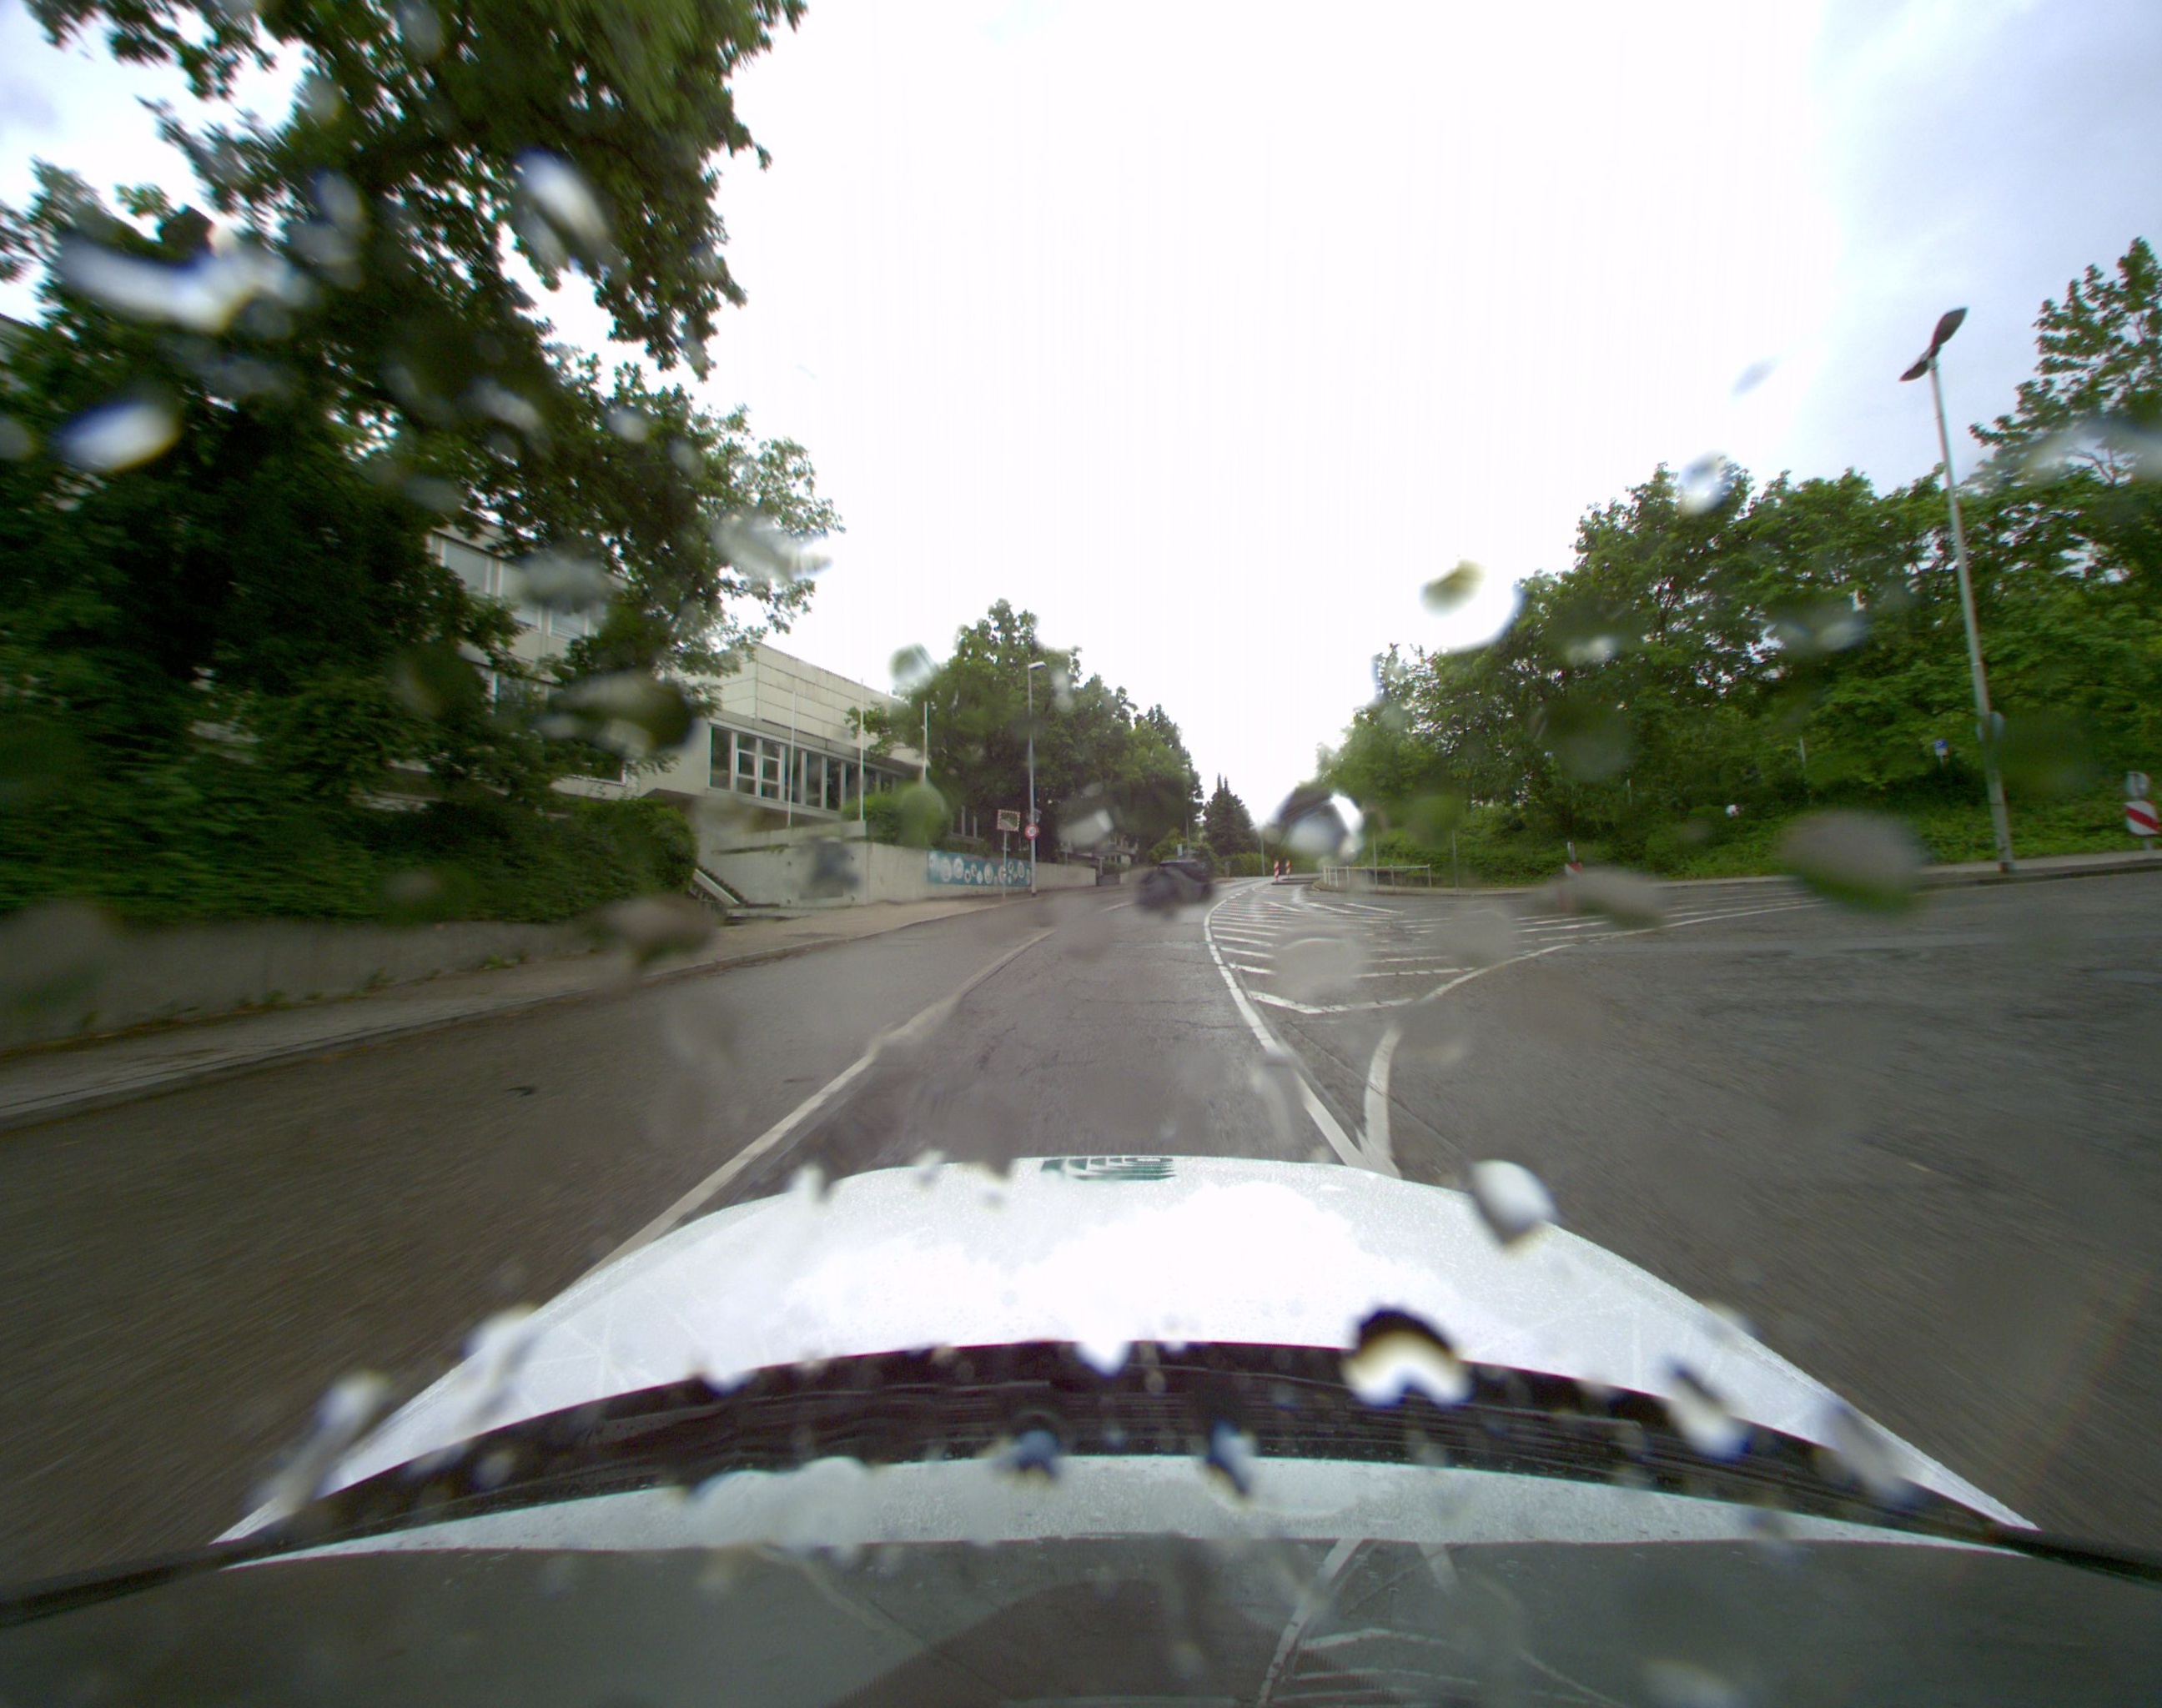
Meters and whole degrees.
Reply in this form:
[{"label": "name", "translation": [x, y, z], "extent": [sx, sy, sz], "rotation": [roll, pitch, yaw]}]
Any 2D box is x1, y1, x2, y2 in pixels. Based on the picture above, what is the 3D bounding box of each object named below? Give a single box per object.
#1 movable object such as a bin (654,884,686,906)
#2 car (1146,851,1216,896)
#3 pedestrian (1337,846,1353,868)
[{"label": "movable object such as a bin", "translation": [-16.758, 1.672, 33.210], "extent": [1.023, 0.793, 0.607], "rotation": [-5, -1, 22]}, {"label": "car", "translation": [3.925, 0.714, 31.426], "extent": [1.913, 1.613, 4.019], "rotation": [-1, 0, 18]}, {"label": "pedestrian", "translation": [21.876, 0.273, 67.402], "extent": [1.076, 1.722, 1.171], "rotation": [-5, -2, 15]}]
